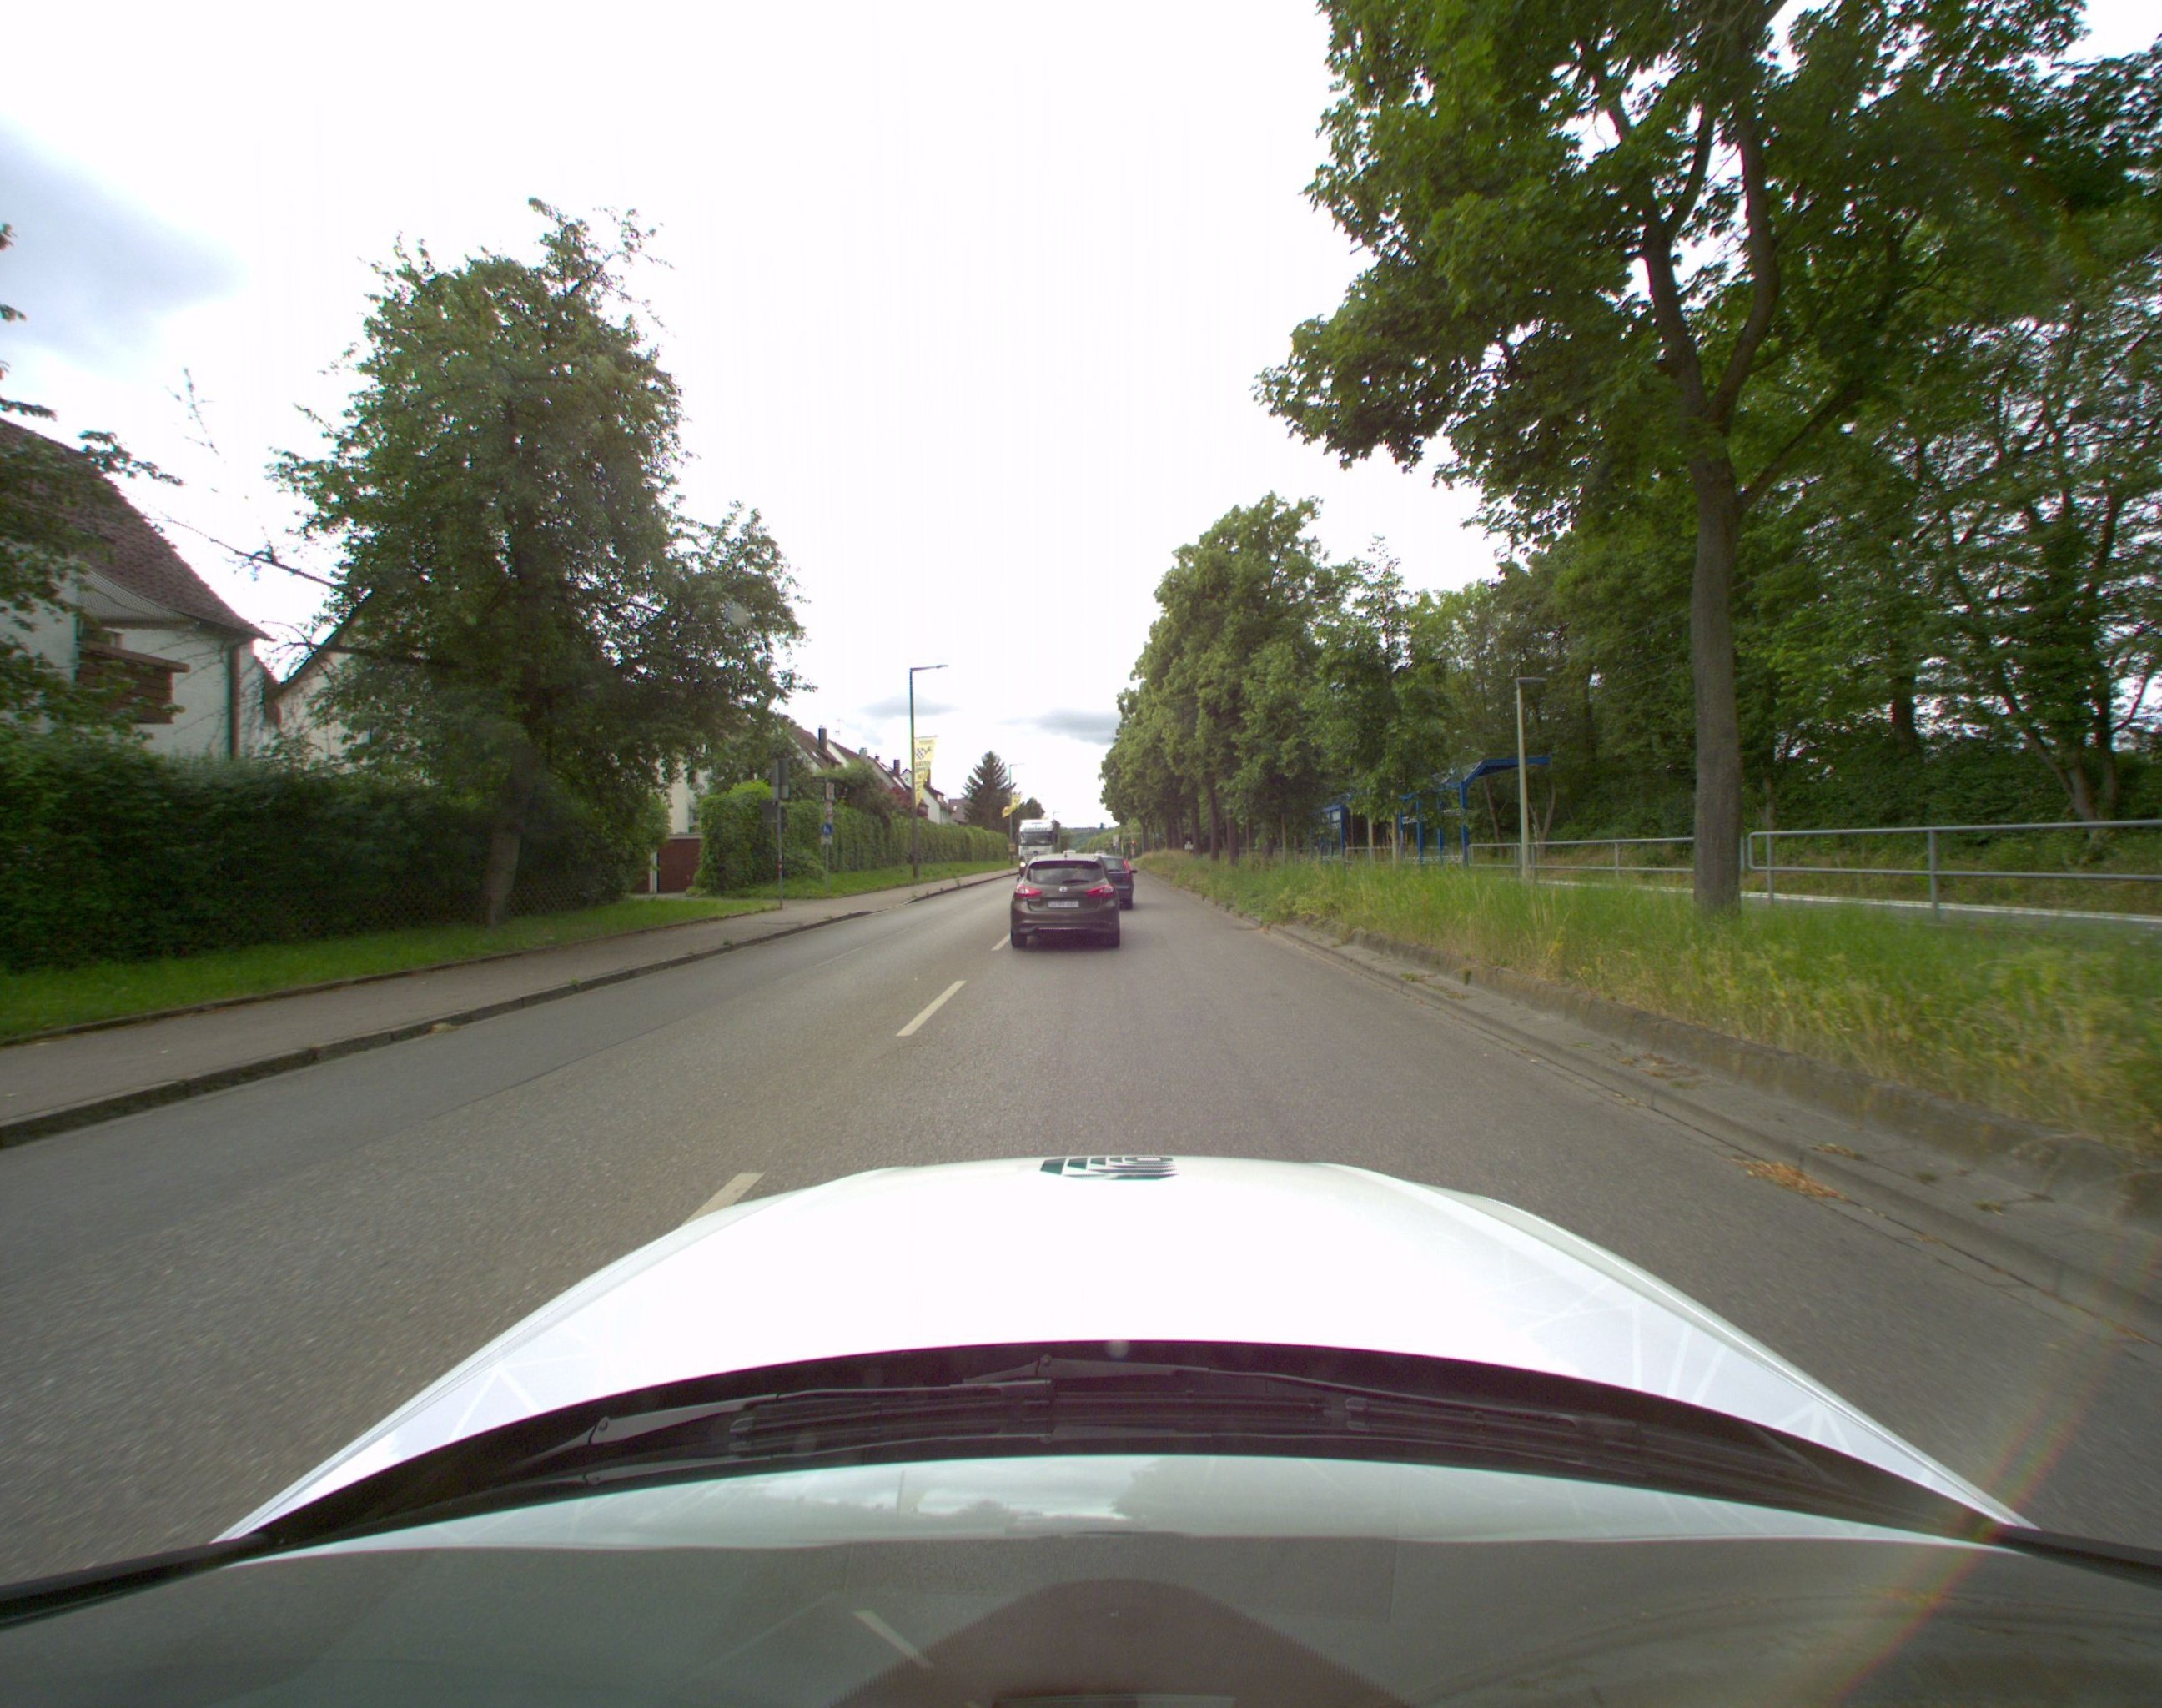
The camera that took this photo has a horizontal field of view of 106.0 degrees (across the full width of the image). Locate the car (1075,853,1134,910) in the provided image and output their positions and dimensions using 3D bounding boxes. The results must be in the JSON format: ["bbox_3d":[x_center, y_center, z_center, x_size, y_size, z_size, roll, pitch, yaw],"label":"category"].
[{"bbox_3d":[0.676,0.719,23.385,1.533,1.478,3.765,-1,0,2],"label":"car"}]

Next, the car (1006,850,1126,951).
[{"bbox_3d":[-0.167,0.717,14.781,1.828,1.519,4.484,-1,0,2],"label":"car"}]

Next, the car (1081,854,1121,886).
[{"bbox_3d":[0.971,0.708,38.807,1.785,1.397,4.001,-1,0,1],"label":"car"}]

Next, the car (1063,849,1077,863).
[{"bbox_3d":[-1.545,0.265,116.197,1.901,1.932,4.909,-2,0,-1],"label":"car"}]

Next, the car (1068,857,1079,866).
[{"bbox_3d":[-1.359,1.342,145.282,1.880,1.383,4.490,-2,0,0],"label":"car"}]

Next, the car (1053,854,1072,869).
[{"bbox_3d":[-1.899,0.778,82.860,1.727,1.375,4.240,-2,0,1],"label":"car"}]

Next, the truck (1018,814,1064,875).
[{"bbox_3d":[-2.863,-0.608,61.087,2.541,4.043,10.620,-3,-1,1],"label":"truck"}]
